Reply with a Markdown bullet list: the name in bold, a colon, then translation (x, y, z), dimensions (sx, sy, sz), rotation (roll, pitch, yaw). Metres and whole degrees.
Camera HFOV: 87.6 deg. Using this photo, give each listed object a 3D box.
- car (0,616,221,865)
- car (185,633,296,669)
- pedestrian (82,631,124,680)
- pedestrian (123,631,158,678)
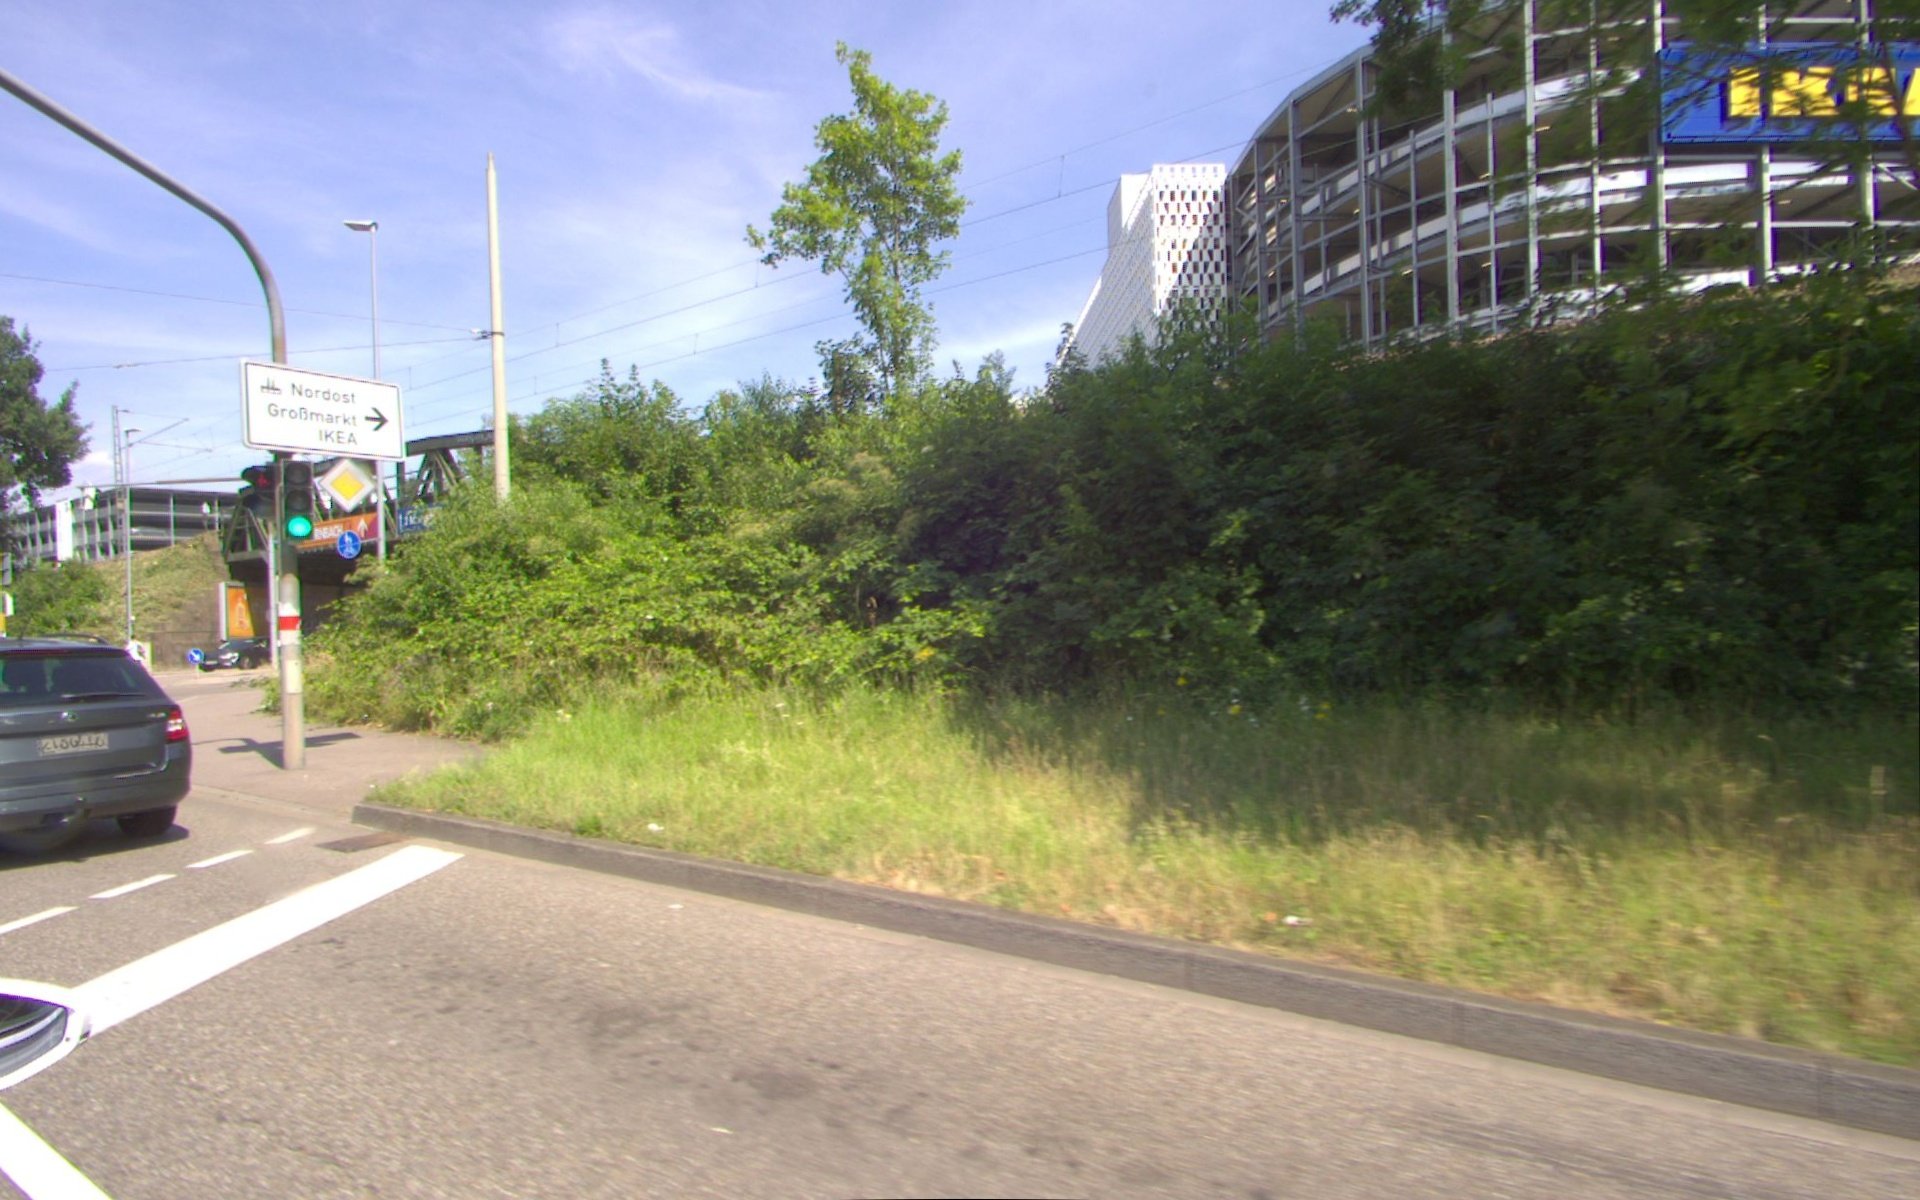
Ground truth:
- **car**: translation (-7.211, 0.886, 7.243), dimensions (3.978, 1.472, 1.672), rotation (-2, -2, 32)
- **car**: translation (-32.305, 2.268, 45.131), dimensions (1.961, 1.427, 4.501), rotation (-1, -1, -3)
- **pedestrian**: translation (-29.072, 1.865, 33.977), dimensions (0.766, 1.633, 0.866), rotation (-1, 0, 32)
- **pedestrian**: translation (-28.609, 1.882, 34.950), dimensions (0.766, 1.600, 0.728), rotation (-1, 0, 32)
